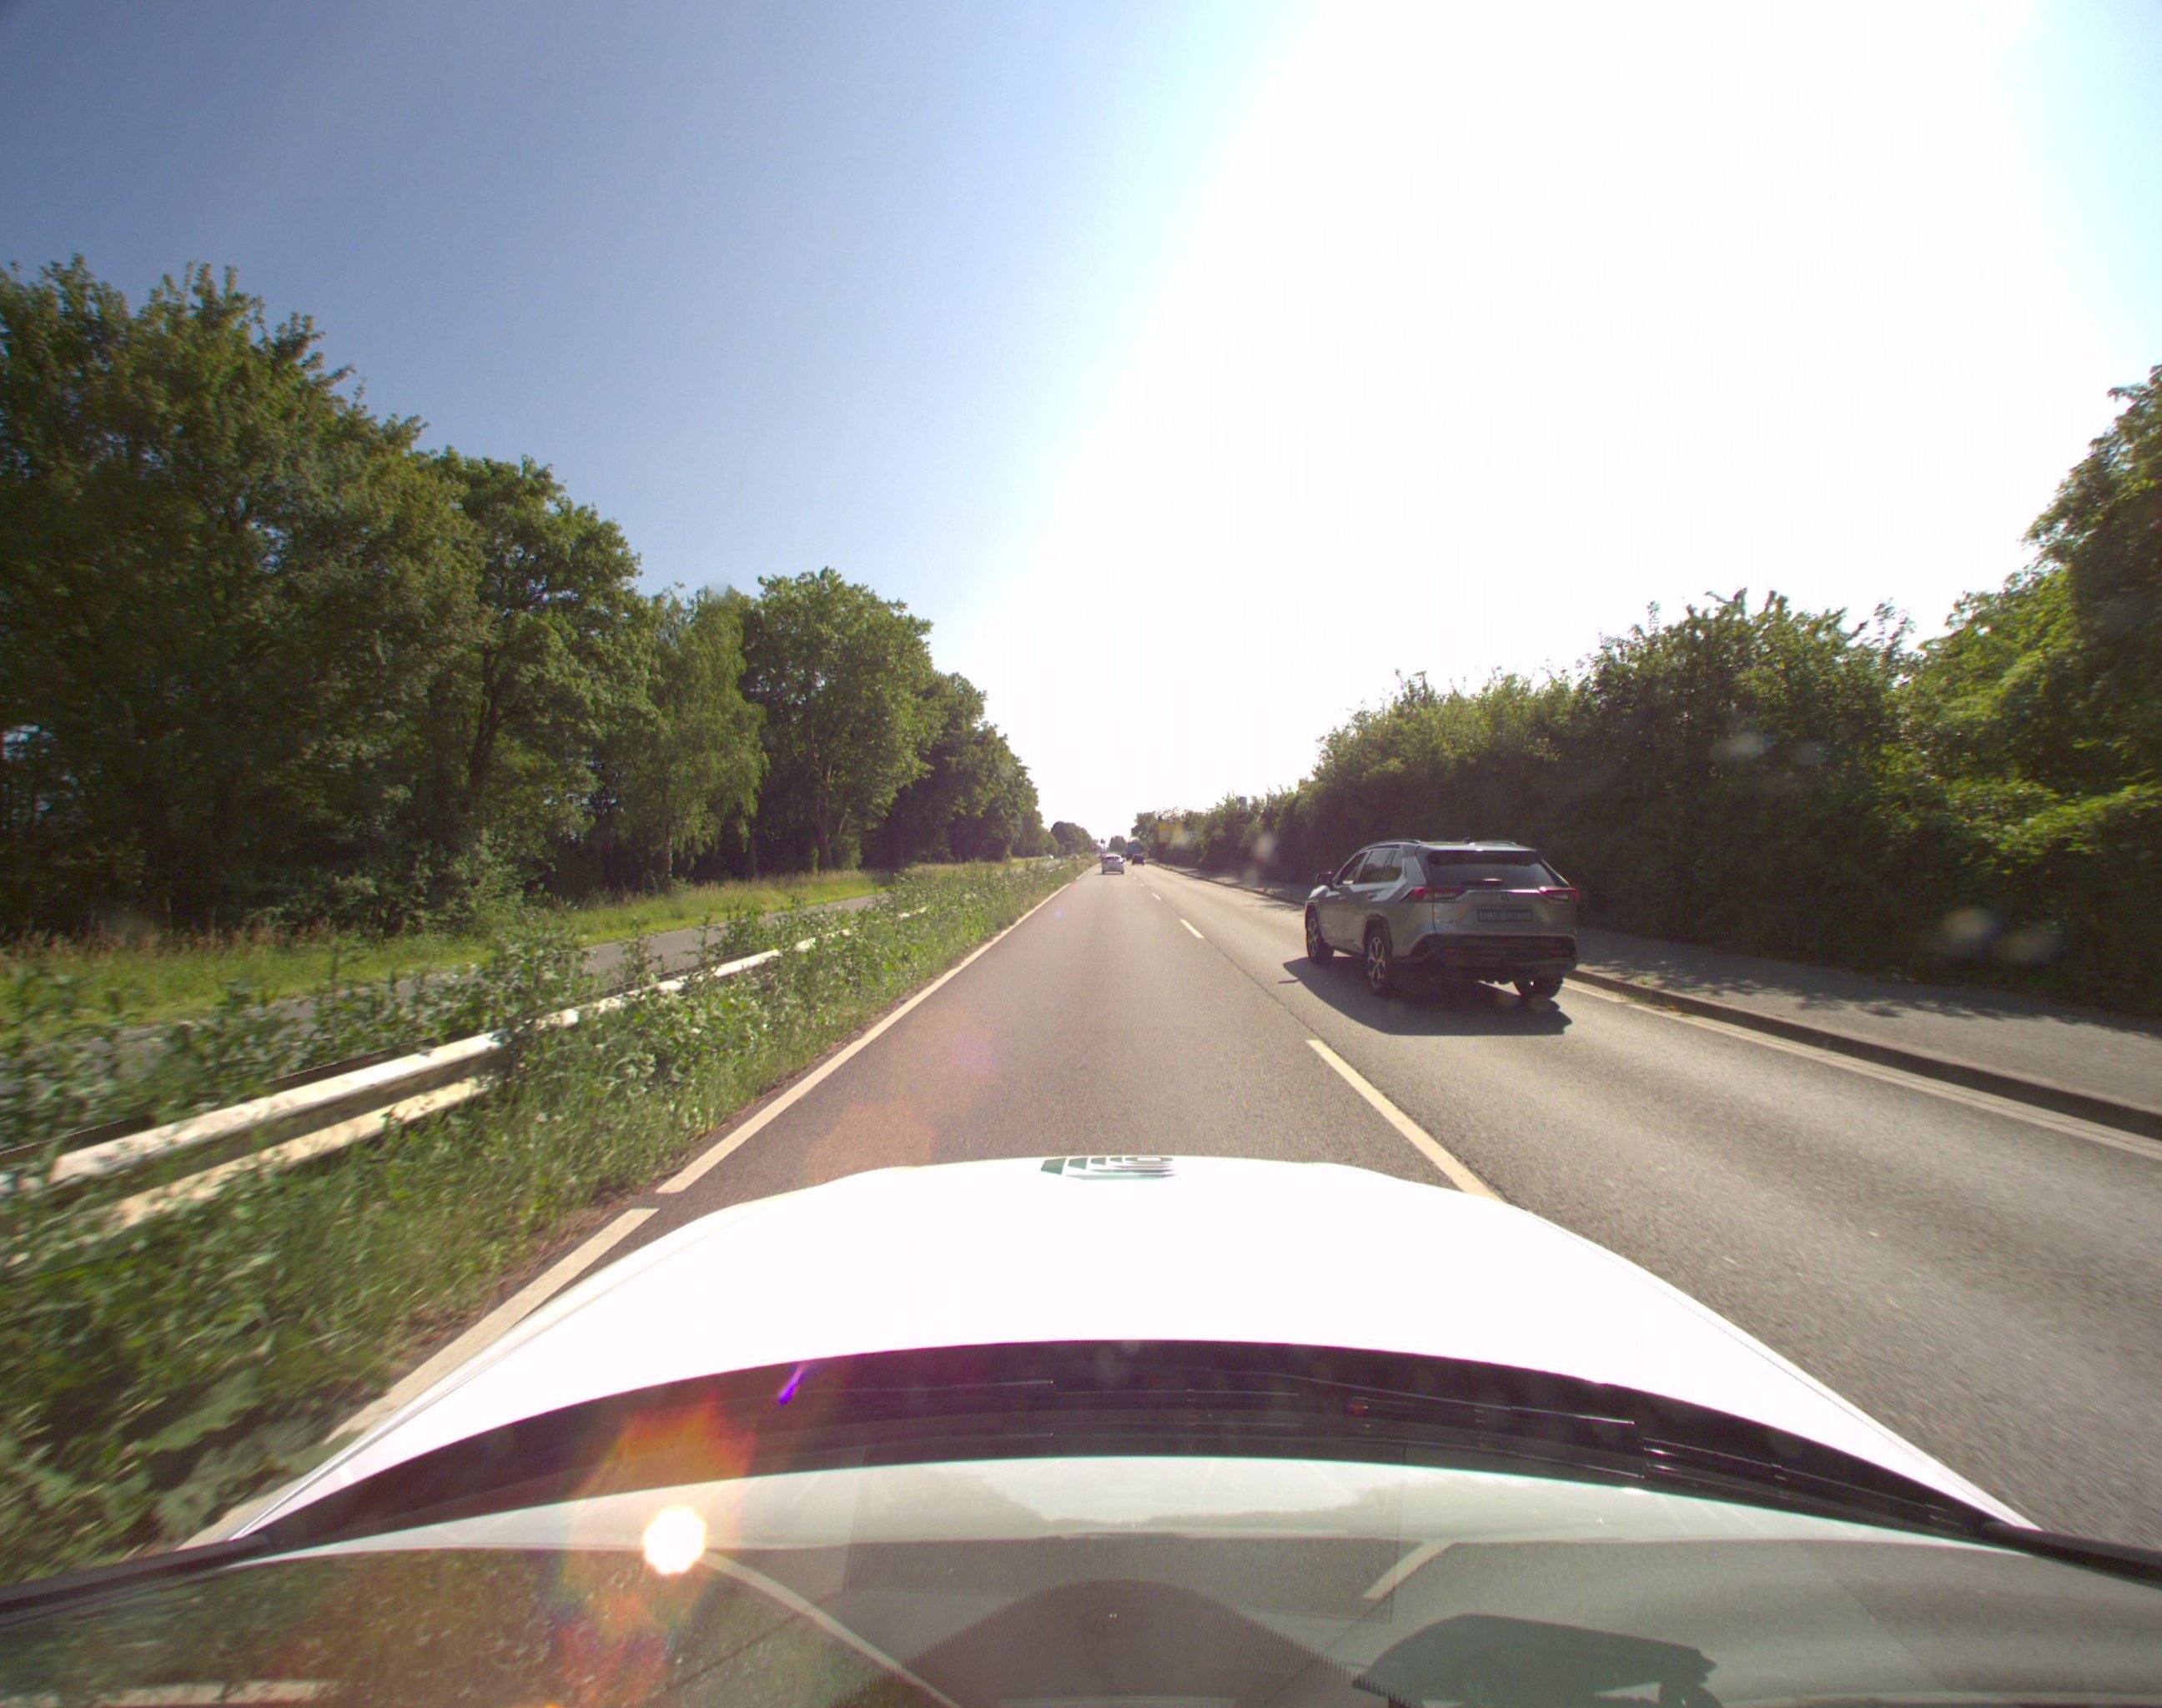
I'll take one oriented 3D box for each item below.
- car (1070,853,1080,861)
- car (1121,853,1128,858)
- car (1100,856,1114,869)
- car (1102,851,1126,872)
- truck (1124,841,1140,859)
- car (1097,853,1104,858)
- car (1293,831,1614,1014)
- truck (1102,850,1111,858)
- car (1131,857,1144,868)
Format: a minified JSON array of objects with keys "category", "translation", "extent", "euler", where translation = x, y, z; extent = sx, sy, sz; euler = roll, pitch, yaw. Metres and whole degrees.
[{"category":"car","translation":[-1.229,0.621,170.207],"extent":[1.770,1.530,4.166],"euler":[-2,0,5]},{"category":"car","translation":[13.486,0.360,252.300],"extent":[1.804,1.464,4.465],"euler":[-2,-1,4]},{"category":"car","translation":[3.049,0.974,95.078],"extent":[1.566,1.414,3.279],"euler":[-2,-1,2]},{"category":"car","translation":[2.556,0.551,62.966],"extent":[1.791,1.552,4.003],"euler":[0,0,3]},{"category":"truck","translation":[10.189,-0.793,164.275],"extent":[2.880,3.428,9.174],"euler":[-1,0,2]},{"category":"car","translation":[6.101,0.566,254.750],"extent":[1.804,1.464,4.976],"euler":[-2,-1,4]},{"category":"car","translation":[4.065,0.634,9.893],"extent":[1.894,1.680,4.685],"euler":[0,0,2]},{"category":"truck","translation":[8.197,0.006,262.835],"extent":[2.362,2.388,6.049],"euler":[-1,1,5]},{"category":"car","translation":[7.298,1.085,105.694],"extent":[1.566,1.414,3.279],"euler":[0,-1,2]}]
